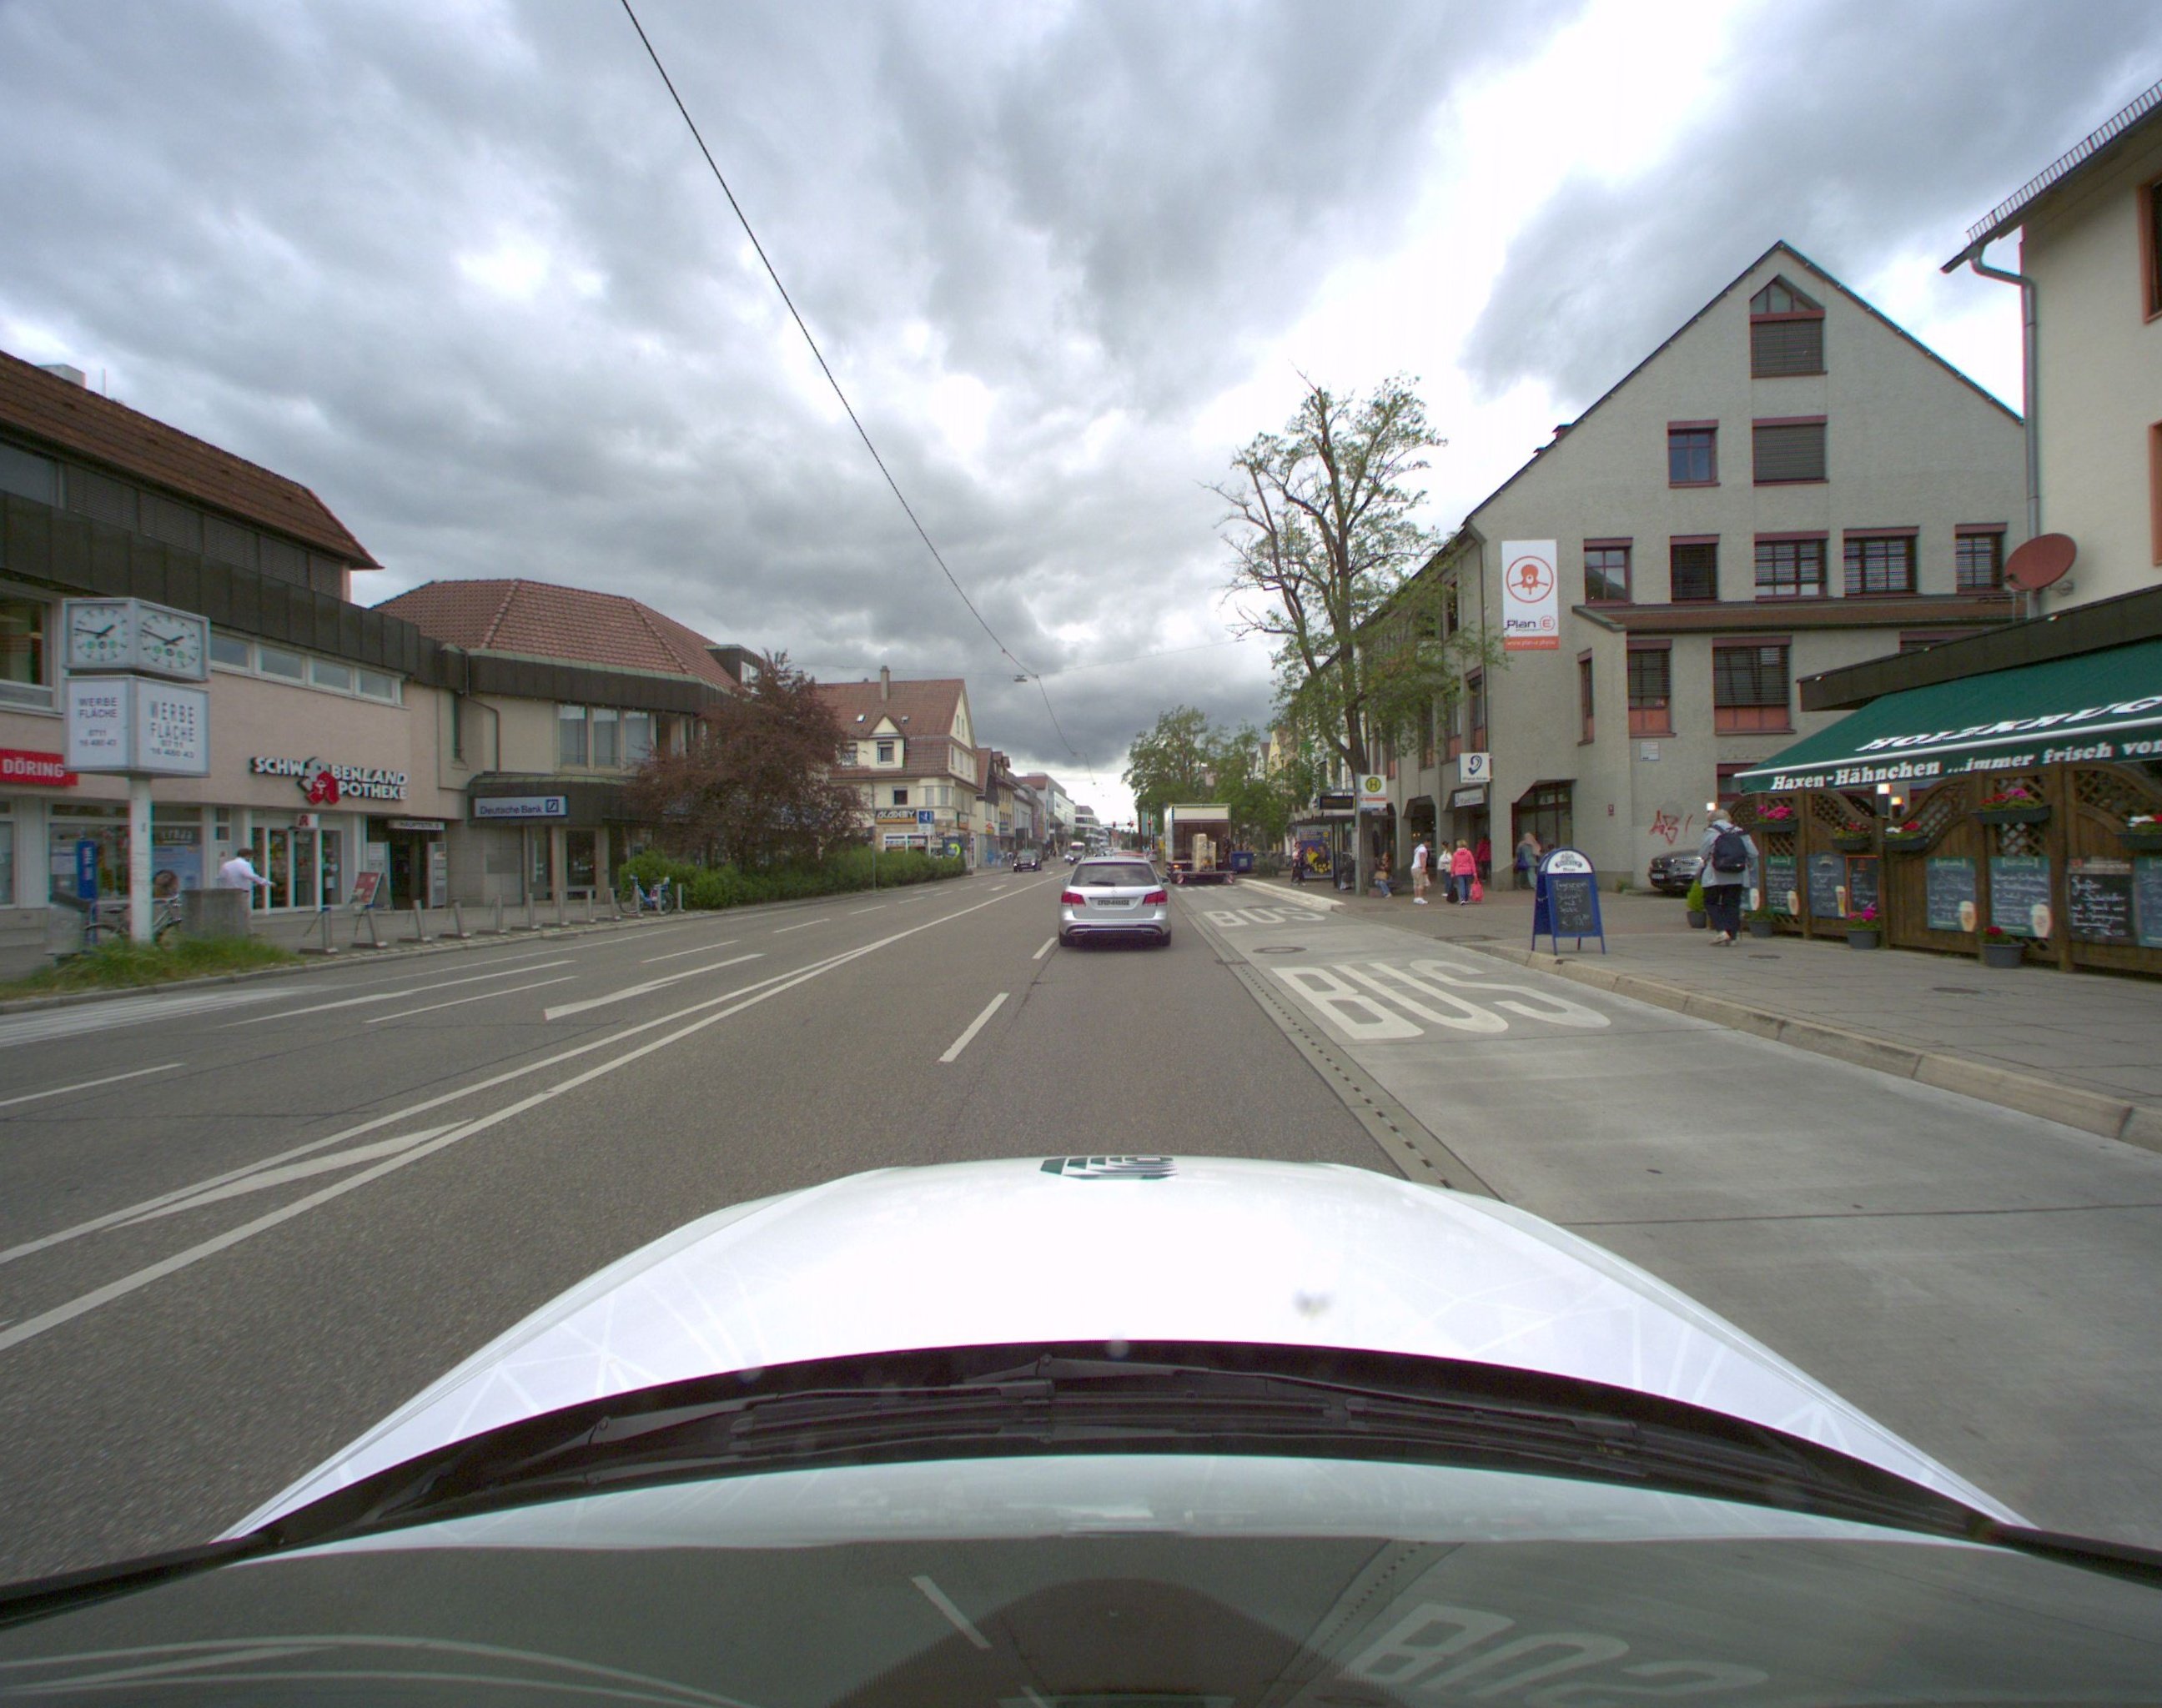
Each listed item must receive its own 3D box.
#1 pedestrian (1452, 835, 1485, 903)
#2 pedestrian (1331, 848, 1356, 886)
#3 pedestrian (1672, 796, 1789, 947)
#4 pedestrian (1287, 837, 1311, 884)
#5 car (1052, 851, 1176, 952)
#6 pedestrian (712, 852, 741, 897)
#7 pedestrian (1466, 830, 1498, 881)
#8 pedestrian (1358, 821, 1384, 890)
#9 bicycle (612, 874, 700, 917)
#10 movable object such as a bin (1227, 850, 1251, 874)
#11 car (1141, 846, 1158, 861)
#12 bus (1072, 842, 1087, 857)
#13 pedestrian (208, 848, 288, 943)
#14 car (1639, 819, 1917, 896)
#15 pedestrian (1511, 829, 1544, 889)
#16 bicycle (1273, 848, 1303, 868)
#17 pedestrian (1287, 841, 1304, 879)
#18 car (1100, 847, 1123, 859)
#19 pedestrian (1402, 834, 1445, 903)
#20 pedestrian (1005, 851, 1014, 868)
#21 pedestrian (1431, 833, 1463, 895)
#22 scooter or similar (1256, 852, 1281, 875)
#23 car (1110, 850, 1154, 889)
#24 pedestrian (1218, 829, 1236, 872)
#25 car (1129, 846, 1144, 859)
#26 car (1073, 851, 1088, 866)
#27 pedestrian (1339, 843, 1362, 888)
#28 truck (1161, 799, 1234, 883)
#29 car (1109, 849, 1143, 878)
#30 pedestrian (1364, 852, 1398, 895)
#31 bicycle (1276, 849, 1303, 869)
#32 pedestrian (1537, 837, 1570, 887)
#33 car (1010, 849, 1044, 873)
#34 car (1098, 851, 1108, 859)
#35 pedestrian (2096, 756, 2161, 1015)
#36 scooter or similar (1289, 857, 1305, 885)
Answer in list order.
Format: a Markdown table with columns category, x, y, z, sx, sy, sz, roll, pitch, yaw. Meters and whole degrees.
| category | x | y | z | sx | sy | sz | roll | pitch | yaw |
| --- | --- | --- | --- | --- | --- | --- | --- | --- | --- |
| pedestrian | 9.083 | 0.329 | 19.116 | 0.666 | 1.567 | 0.494 | 0 | 2 | 23 |
| pedestrian | 8.798 | 0.424 | 27.291 | 0.695 | 1.232 | 0.590 | -4 | -1 | 12 |
| pedestrian | 7.961 | 0.211 | 10.019 | 0.680 | 1.742 | 0.781 | -3 | -2 | -2 |
| pedestrian | 7.652 | 0.231 | 28.640 | 0.536 | 1.634 | 0.584 | 1 | 0 | -21 |
| car | 0.560 | 0.718 | 14.378 | 1.867 | 1.506 | 4.002 | -1 | 0 | 2 |
| pedestrian | -14.532 | 0.824 | 33.402 | 0.722 | 1.764 | 0.757 | 3 | 1 | 7 |
| pedestrian | 13.166 | 0.034 | 26.760 | 0.724 | 1.634 | 0.614 | -1 | 0 | -5 |
| pedestrian | 8.872 | 0.045 | 24.935 | 0.608 | 2.047 | 0.590 | -3 | -1 | 16 |
| bicycle | -11.687 | 1.140 | 22.454 | 2.015 | 1.090 | 0.647 | -1 | 0 | -7 |
| movable object such as a bin | 8.942 | 0.439 | 46.163 | 1.138 | 1.339 | 1.378 | -2 | 0 | 5 |
| car | 8.297 | -0.086 | 99.276 | 1.985 | 1.684 | 4.004 | -1 | 0 | 4 |
| bus | -0.247 | -0.945 | 181.503 | 2.763 | 3.165 | 5.939 | -1 | 0 | 4 |
| pedestrian | -16.037 | 0.783 | 15.695 | 0.723 | 1.764 | 0.755 | 2 | 0 | 1 |
| car | 15.782 | 0.082 | 18.685 | 4.580 | 1.619 | 1.884 | -1 | 0 | 7 |
| pedestrian | 12.392 | 0.129 | 22.619 | 0.583 | 1.634 | 0.616 | -1 | 0 | 4 |
| bicycle | 14.164 | 0.286 | 55.700 | 1.810 | 1.326 | 0.843 | -1 | 0 | -1 |
| pedestrian | 9.955 | 0.271 | 37.769 | 0.611 | 1.740 | 0.588 | 2 | 0 | 0 |
| car | 5.738 | -0.208 | 151.921 | 1.942 | 1.960 | 5.172 | -3 | 0 | 30 |
| pedestrian | 8.339 | 0.332 | 19.845 | 0.613 | 1.634 | 0.791 | -1 | 1 | -9 |
| pedestrian | -7.011 | 0.521 | 80.007 | 0.814 | 1.634 | 0.979 | 1 | 0 | -2 |
| pedestrian | 9.740 | 0.265 | 21.676 | 0.609 | 1.634 | 0.589 | -1 | 0 | 8 |
| scooter or similar | 9.880 | 0.484 | 42.926 | 1.174 | 1.196 | 0.459 | -2 | 0 | -6 |
| car | 2.165 | 0.632 | 34.559 | 1.747 | 1.521 | 4.004 | -2 | 0 | 4 |
| pedestrian | 6.171 | -0.144 | 34.402 | 0.611 | 1.780 | 0.588 | -2 | -1 | 0 |
| car | 7.369 | -0.159 | 107.989 | 1.985 | 1.684 | 4.004 | -1 | 0 | 4 |
| car | -0.041 | 0.454 | 86.244 | 1.564 | 1.540 | 2.961 | 0 | 0 | 1 |
| pedestrian | 8.599 | 0.370 | 25.992 | 0.608 | 1.401 | 0.590 | -3 | -1 | 16 |
| truck | 5.526 | -0.594 | 40.040 | 2.677 | 3.561 | 9.775 | -1 | 0 | 3 |
| car | 2.853 | 0.545 | 50.784 | 1.985 | 1.684 | 4.004 | -1 | 0 | 4 |
| pedestrian | 8.256 | 0.530 | 22.446 | 0.710 | 1.166 | 0.587 | -1 | 1 | -3 |
| bicycle | 14.019 | 0.328 | 54.809 | 1.669 | 1.259 | 0.669 | -1 | 0 | -1 |
| pedestrian | 13.051 | 0.214 | 22.505 | 0.583 | 1.375 | 0.616 | -1 | 0 | 5 |
| car | -4.407 | 0.542 | 66.948 | 2.059 | 1.738 | 4.698 | -3 | 0 | 4 |
| car | 3.870 | 0.146 | 142.829 | 1.609 | 1.428 | 3.927 | -2 | 0 | 4 |
| pedestrian | 7.648 | 0.193 | 5.373 | 0.793 | 1.742 | 0.781 | -3 | -2 | -2 |
| scooter or similar | 7.487 | 0.585 | 28.282 | 0.387 | 0.959 | 0.351 | -2 | 0 | -38 |
